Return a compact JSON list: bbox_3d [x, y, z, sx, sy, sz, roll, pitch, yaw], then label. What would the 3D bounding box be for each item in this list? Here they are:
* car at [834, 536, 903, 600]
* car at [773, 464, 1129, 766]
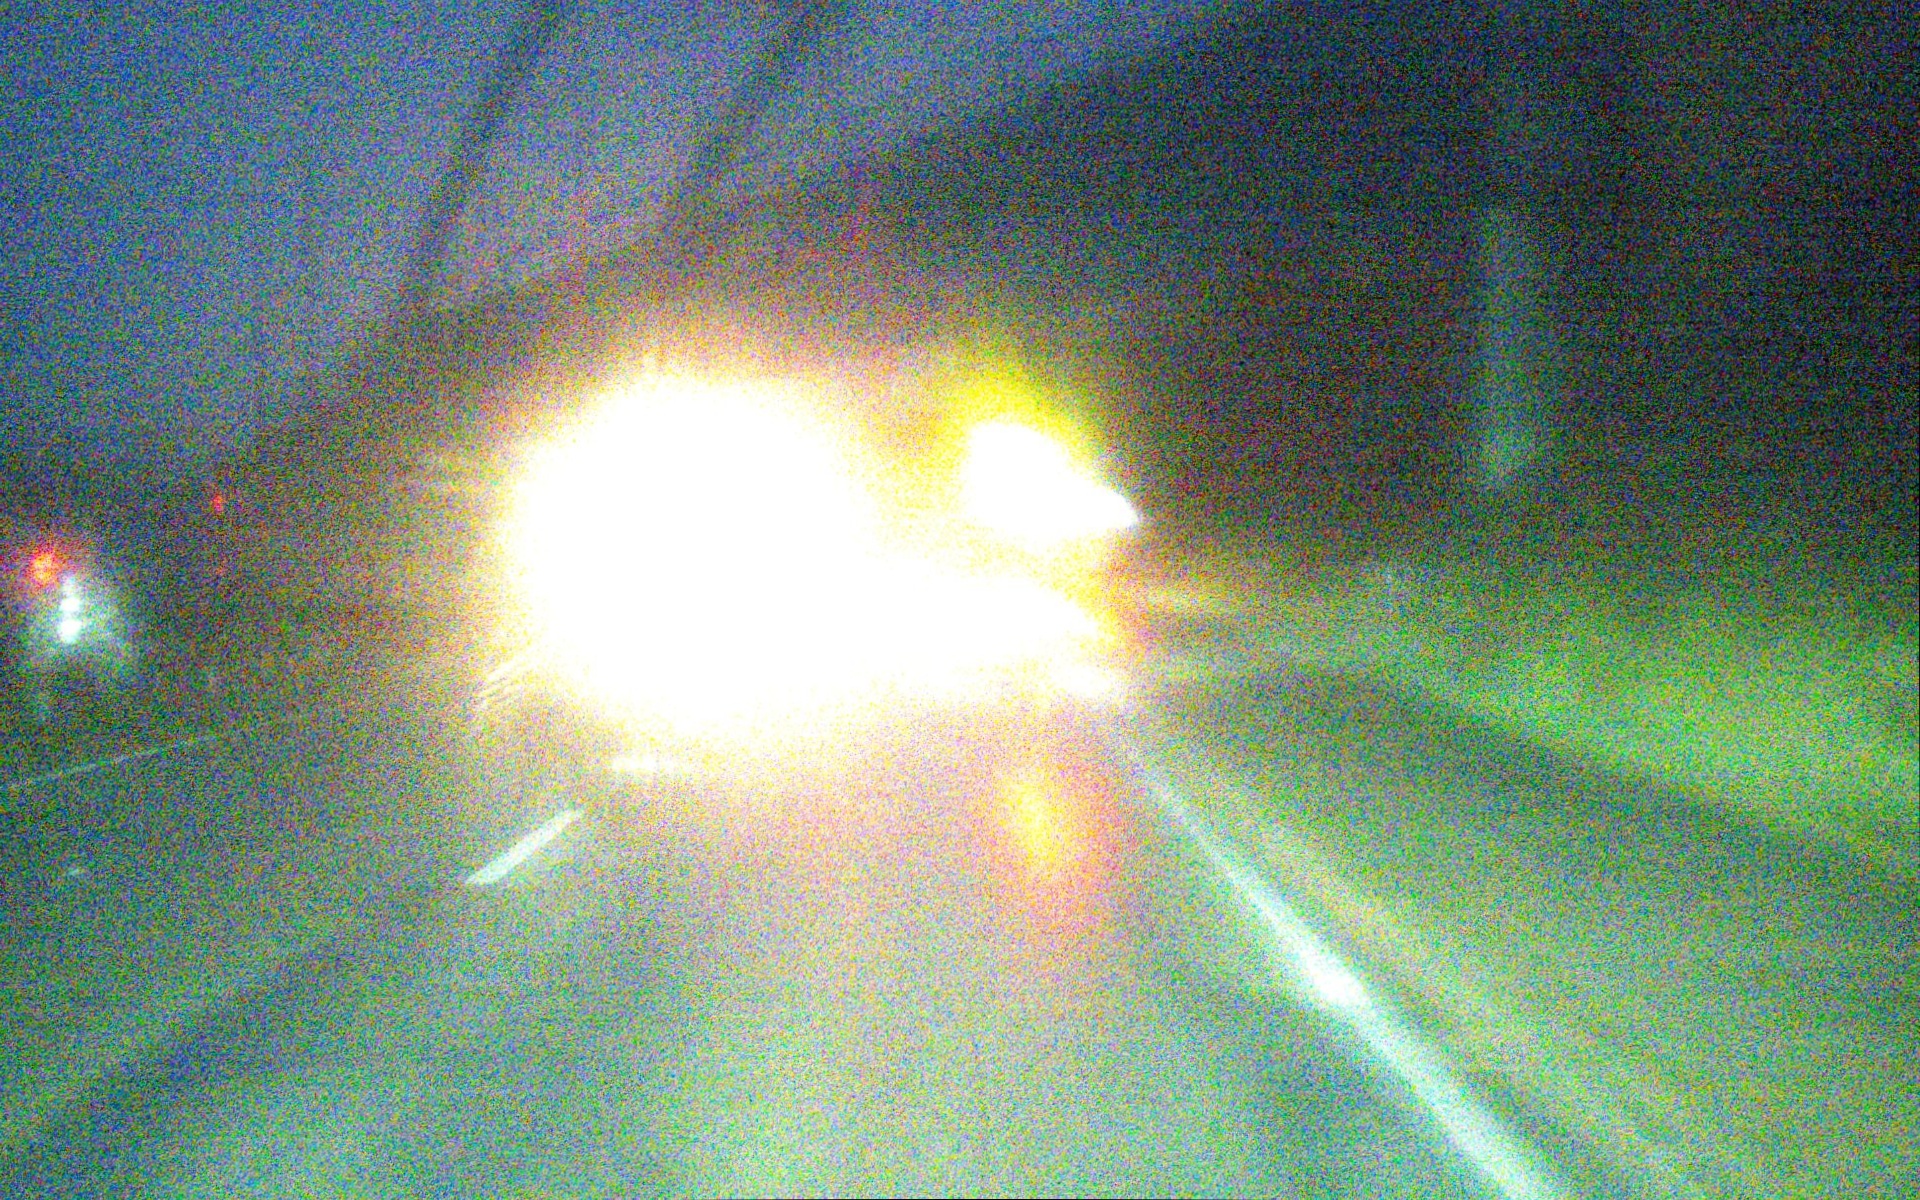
[{"bbox_3d":[-2.860,-0.985,106.614,1.993,1.908,4.000,1,0,-3],"label":"car"},{"bbox_3d":[-0.139,0.074,29.424,2.715,2.300,6.101,0,1,-1],"label":"car"}]
